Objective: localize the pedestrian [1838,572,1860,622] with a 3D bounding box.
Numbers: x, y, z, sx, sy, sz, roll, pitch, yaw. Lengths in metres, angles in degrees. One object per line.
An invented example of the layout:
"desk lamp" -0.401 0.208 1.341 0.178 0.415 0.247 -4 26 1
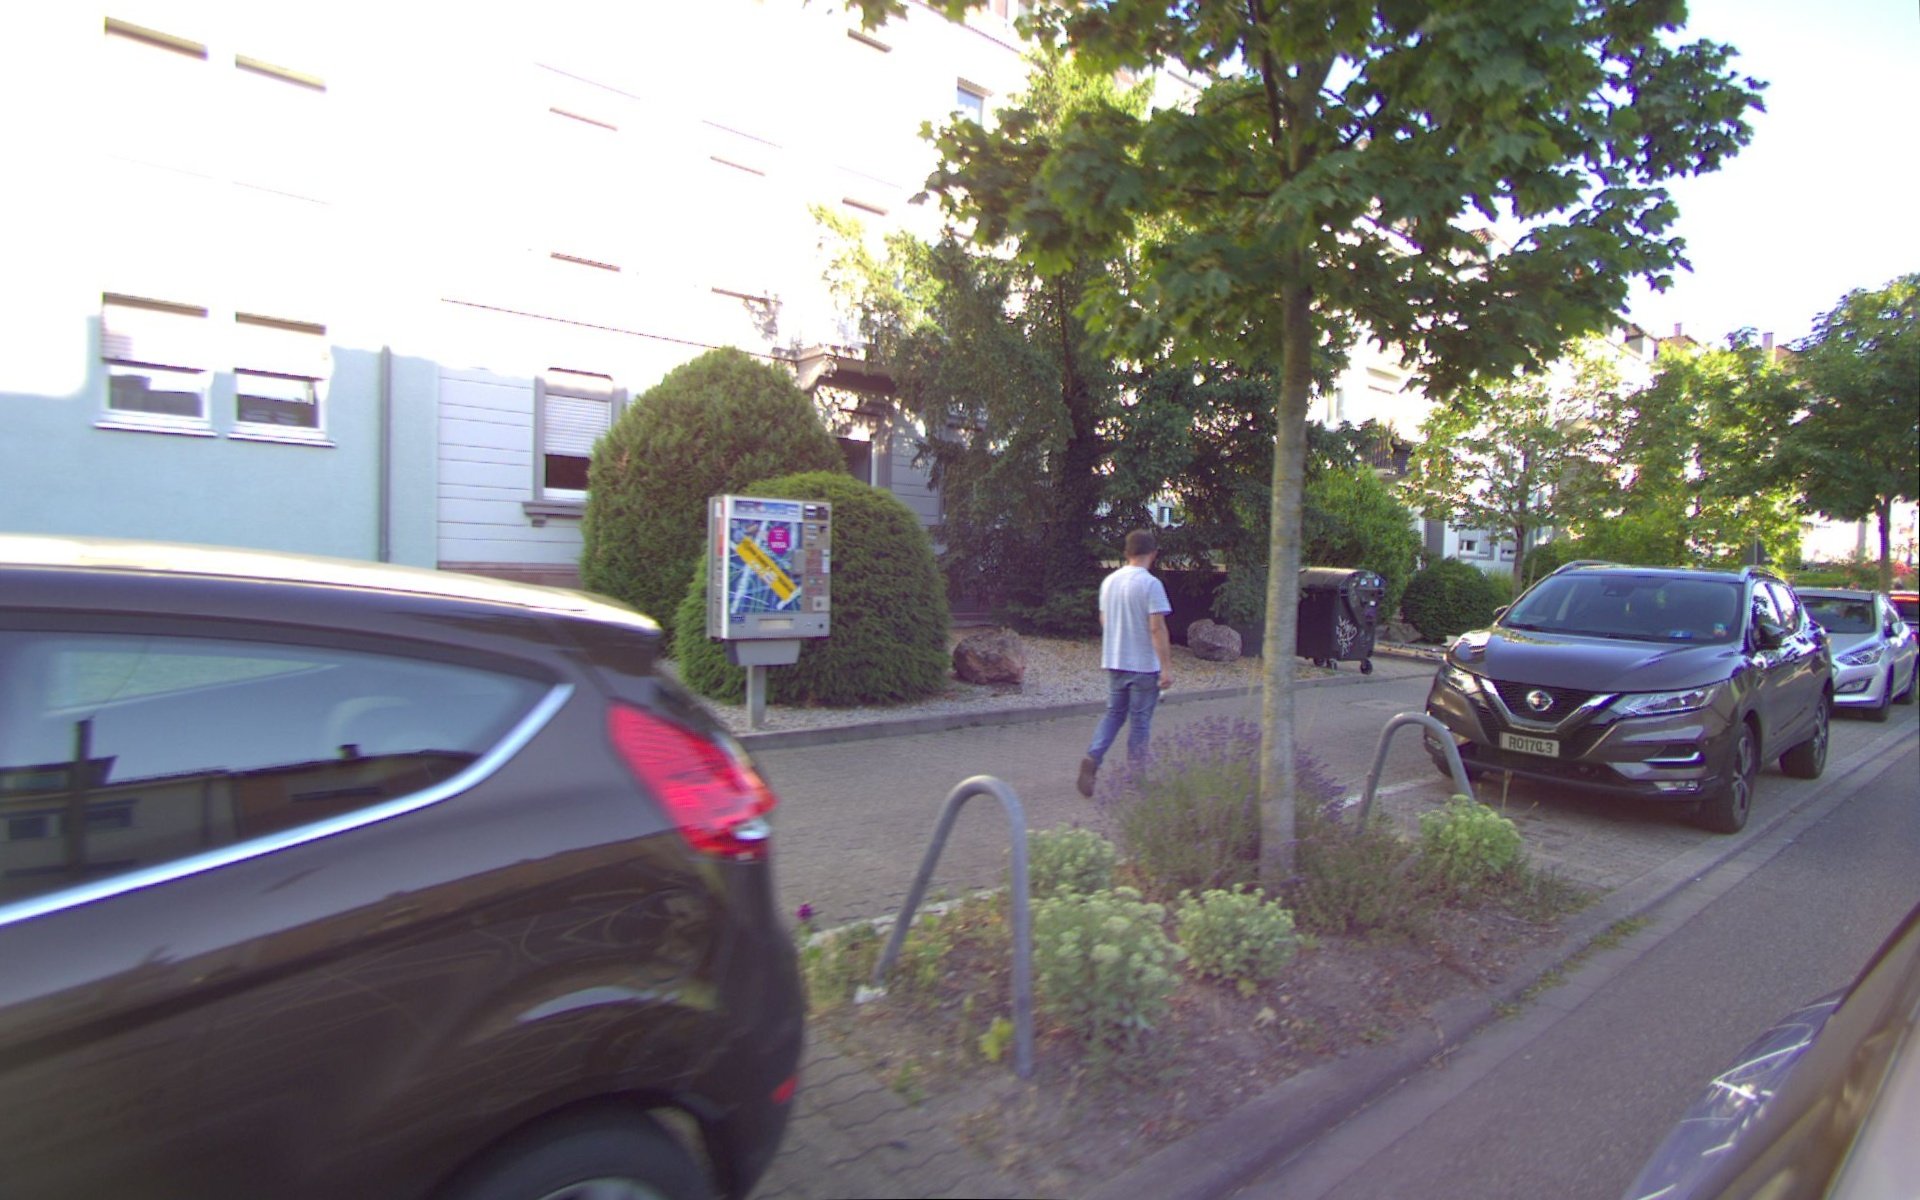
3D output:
"pedestrian" 31.366 -0.108 35.704 0.518 1.718 0.511 0 2 -45

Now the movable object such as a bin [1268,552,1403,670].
"movable object such as a bin" 5.263 0.125 14.241 1.116 1.510 1.273 1 4 -30

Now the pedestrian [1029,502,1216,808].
"pedestrian" 0.992 0.295 6.242 0.792 1.721 0.791 0 2 -36

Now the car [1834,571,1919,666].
"car" 18.522 0.323 19.345 4.733 1.600 1.880 0 4 -39

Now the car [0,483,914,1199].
"car" -2.097 0.570 1.265 3.890 1.484 1.616 0 4 -41

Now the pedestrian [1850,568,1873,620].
"pedestrian" 30.815 -0.210 34.593 0.518 1.718 0.511 0 2 -45

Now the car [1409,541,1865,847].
"car" 5.103 0.458 7.415 4.024 1.620 1.722 0 3 -41

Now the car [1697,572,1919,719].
"car" 10.982 0.452 12.829 4.318 1.512 1.721 0 3 -42

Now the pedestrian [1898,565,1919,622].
"pedestrian" 31.716 -0.212 33.671 0.749 1.872 0.550 0 2 -33
